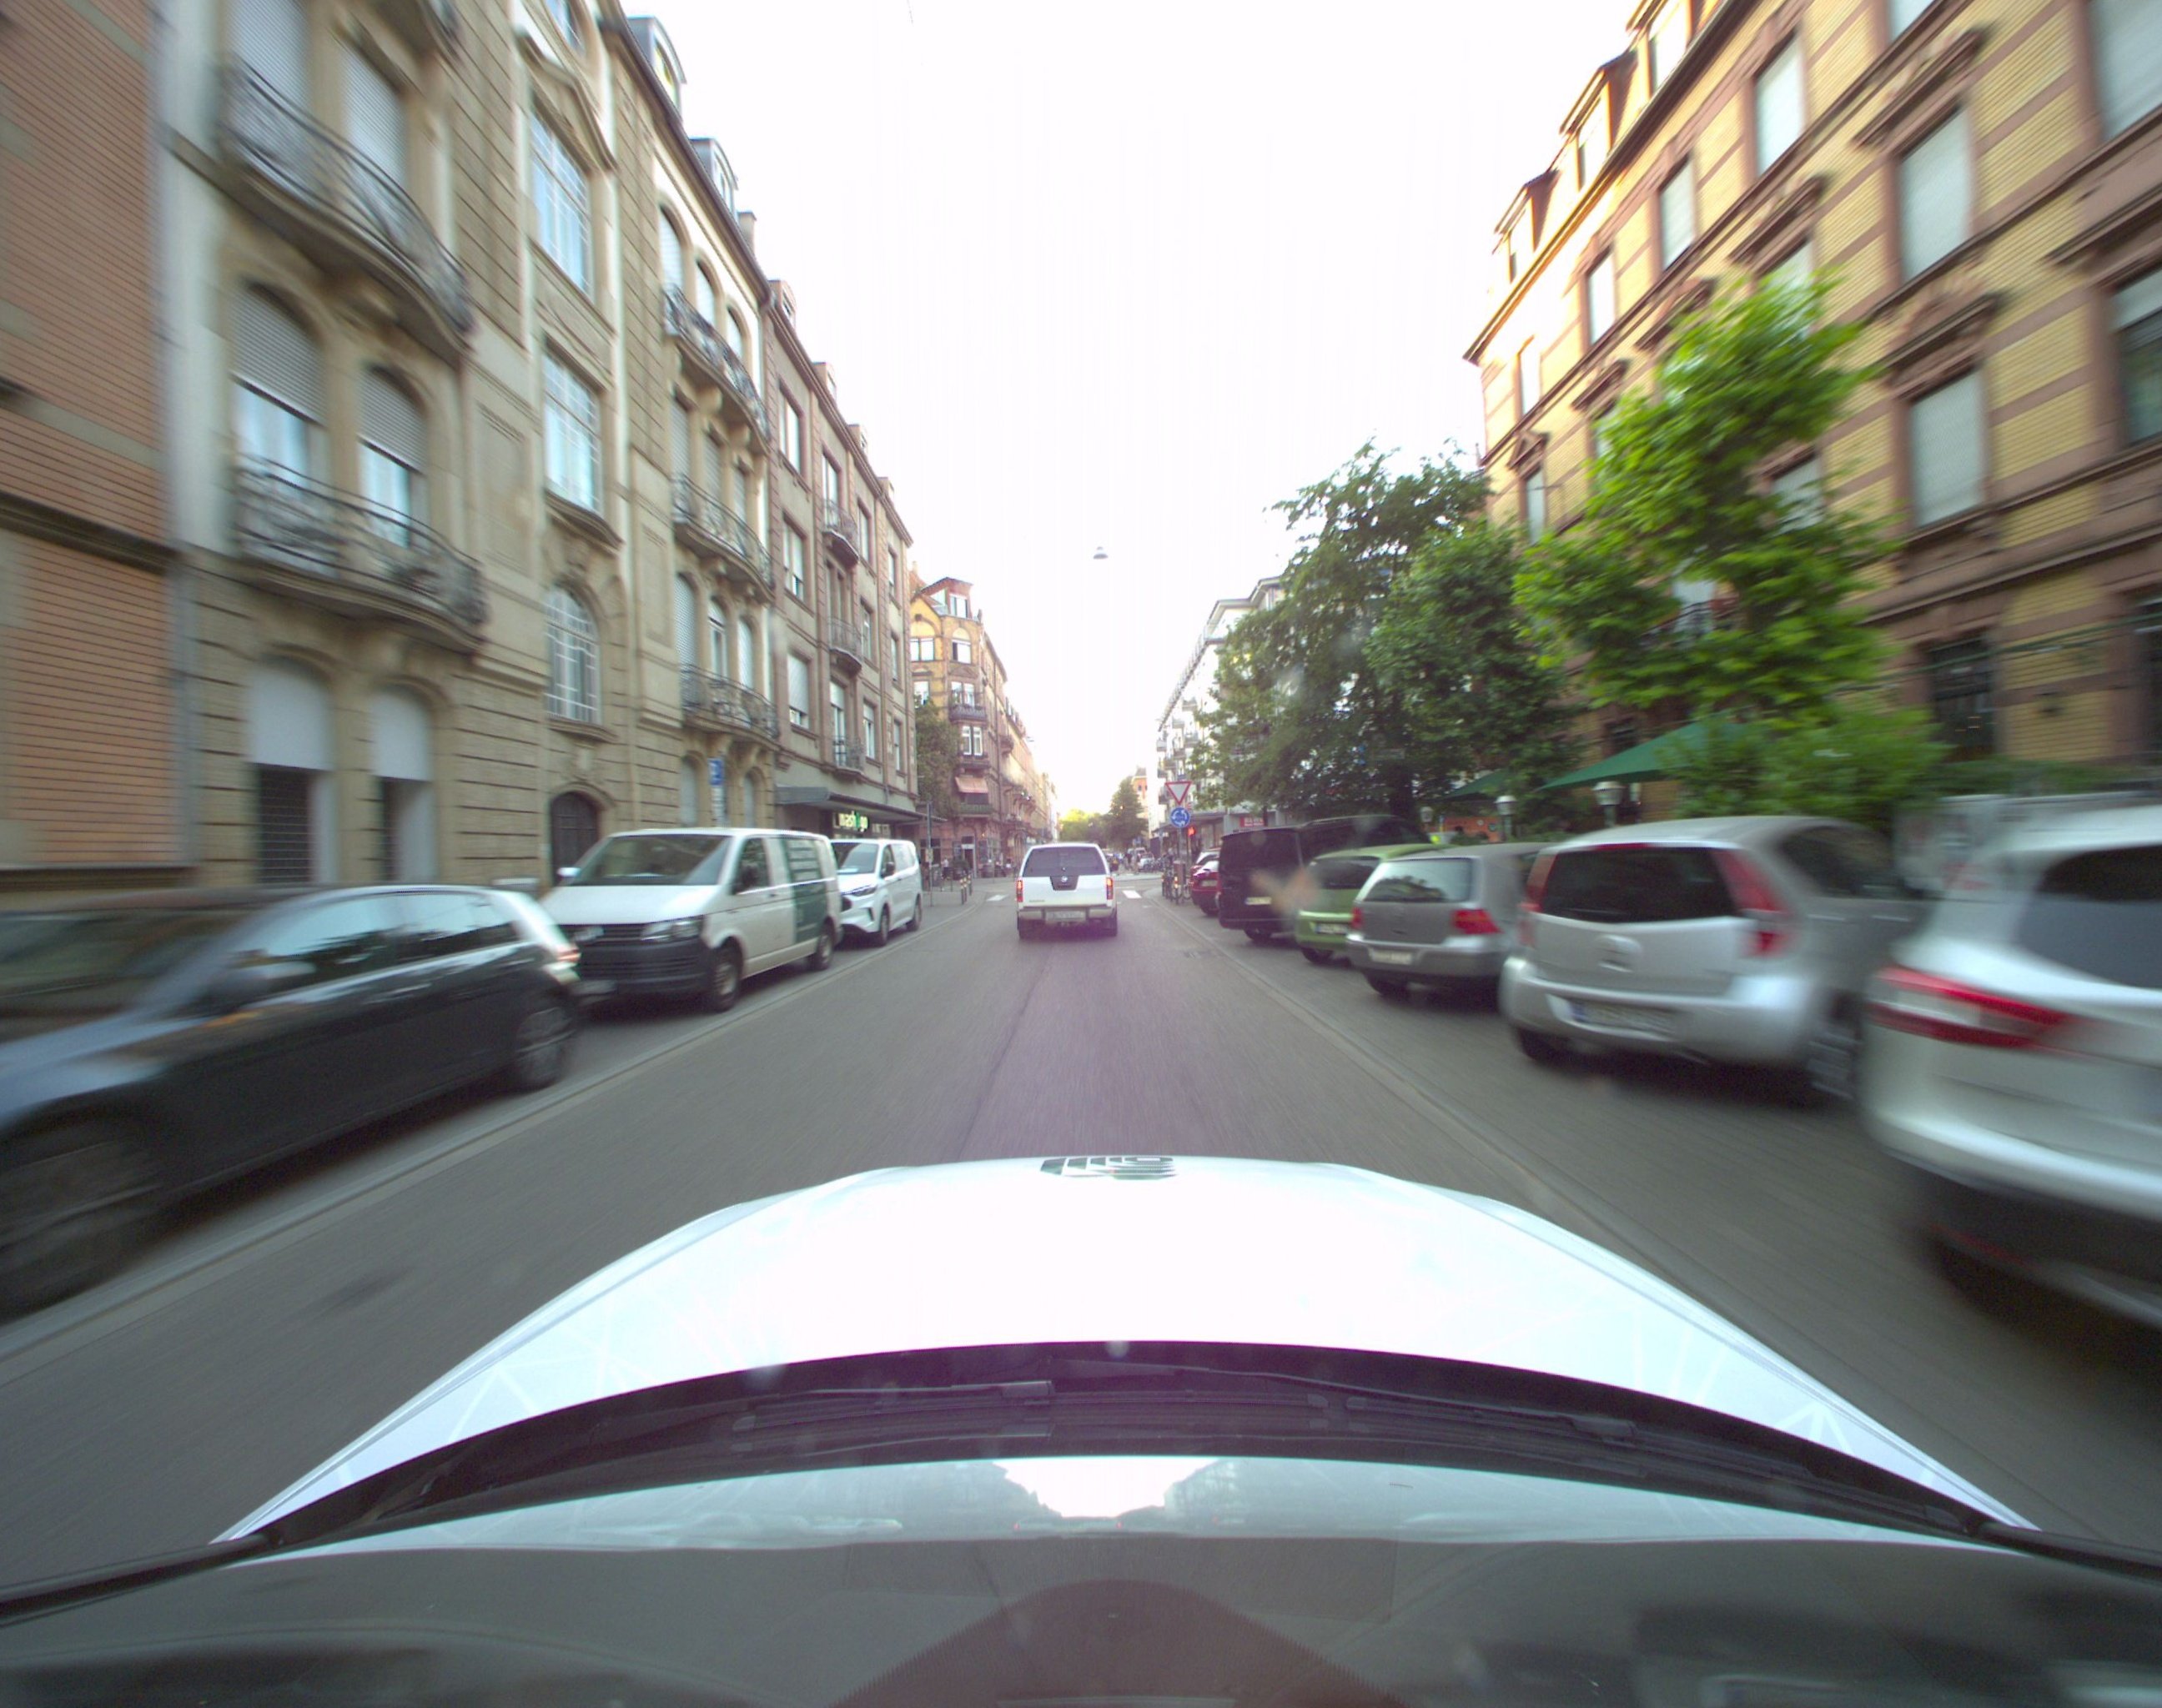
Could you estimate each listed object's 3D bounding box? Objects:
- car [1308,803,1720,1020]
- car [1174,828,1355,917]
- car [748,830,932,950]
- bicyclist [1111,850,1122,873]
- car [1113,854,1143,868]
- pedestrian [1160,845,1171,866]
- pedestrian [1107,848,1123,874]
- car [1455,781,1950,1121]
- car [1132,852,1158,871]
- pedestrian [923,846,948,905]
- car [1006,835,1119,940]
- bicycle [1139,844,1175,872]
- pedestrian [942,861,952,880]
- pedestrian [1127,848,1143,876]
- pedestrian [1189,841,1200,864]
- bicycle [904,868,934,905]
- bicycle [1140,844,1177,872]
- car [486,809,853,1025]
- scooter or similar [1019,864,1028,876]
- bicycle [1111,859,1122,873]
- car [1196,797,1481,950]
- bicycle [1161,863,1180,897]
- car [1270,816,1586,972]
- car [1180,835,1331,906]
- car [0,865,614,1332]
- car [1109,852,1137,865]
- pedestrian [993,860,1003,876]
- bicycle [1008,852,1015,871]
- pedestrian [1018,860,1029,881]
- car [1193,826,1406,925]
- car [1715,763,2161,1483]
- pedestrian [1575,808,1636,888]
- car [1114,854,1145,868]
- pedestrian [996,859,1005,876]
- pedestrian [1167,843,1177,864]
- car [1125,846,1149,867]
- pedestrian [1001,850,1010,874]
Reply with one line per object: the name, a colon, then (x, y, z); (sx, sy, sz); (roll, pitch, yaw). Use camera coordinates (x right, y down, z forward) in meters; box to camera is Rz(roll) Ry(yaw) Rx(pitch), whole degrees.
car: (4.517, 0.419, 8.357); (4.123, 1.551, 1.800); (-5, 1, -31)
car: (4.493, 0.396, 19.644); (4.245, 1.688, 1.911); (-5, 1, -38)
car: (-4.453, 0.606, 16.004); (2.103, 1.921, 5.024); (-2, 0, -1)
bicyclist: (2.989, 0.616, 68.598); (0.834, 1.944, 0.786); (-1, -1, 5)
car: (6.327, 0.936, 109.692); (3.975, 1.750, 1.840); (-1, -1, -1)
pedestrian: (6.693, 0.140, 64.532); (0.717, 1.663, 0.702); (-1, -1, 1)
pedestrian: (2.283, 0.480, 54.290); (0.905, 1.736, 0.613); (-1, -1, -14)
car: (4.724, 0.403, 5.972); (4.129, 1.590, 1.798); (-5, 1, -37)
car: (5.262, 0.611, 67.341); (1.829, 1.542, 3.999); (-1, -1, 0)
pedestrian: (-4.634, 0.672, 25.941); (0.534, 1.824, 0.998); (-1, -1, 4)
car: (-0.210, 0.615, 16.776); (1.930, 1.810, 5.004); (-1, -1, 3)
bicycle: (5.653, 0.291, 60.681); (2.637, 2.014, 0.638); (-1, -1, 1)
pedestrian: (-9.056, 1.088, 55.086); (0.451, 1.262, 0.578); (-1, -1, 25)
pedestrian: (3.657, 0.543, 55.181); (0.909, 1.885, 0.610); (0, -1, -30)
pedestrian: (8.383, -0.078, 60.090); (0.717, 1.663, 0.703); (-1, -1, 3)
bicycle: (-5.204, 1.030, 26.212); (0.469, 1.142, 1.786); (-1, -1, 4)
bicycle: (5.682, 0.281, 59.866); (2.637, 2.014, 0.638); (-1, -1, 1)
car: (-4.459, 0.582, 9.901); (1.830, 1.921, 4.847); (-2, 0, 1)
scooter or similar: (-4.448, 1.207, 62.816); (0.234, 0.929, 1.256); (-1, -1, -24)
bicycle: (2.966, 1.001, 68.468); (0.834, 1.171, 1.938); (-1, -1, 5)
car: (4.712, 0.212, 14.375); (5.464, 2.072, 1.911); (-5, 1, -38)
bicycle: (2.884, 0.818, 26.371); (0.363, 1.063, 1.550); (-1, -1, -3)
car: (4.760, 0.430, 11.037); (4.123, 1.551, 1.800); (-5, 1, -31)
car: (4.952, 0.422, 22.980); (4.063, 1.627, 1.676); (-4, 1, -31)
car: (-4.454, 0.846, 4.079); (1.832, 1.471, 4.170); (-2, 0, -1)
car: (6.109, 0.696, 119.449); (3.975, 1.750, 1.840); (-1, -1, -1)
pedestrian: (-6.274, 1.090, 61.517); (0.647, 1.191, 0.539); (-1, -1, -4)
bicycle: (-5.295, 0.578, 62.119); (0.423, 1.442, 1.902); (-1, -1, -4)
pedestrian: (-4.598, 1.333, 64.828); (0.795, 1.621, 0.944); (-1, -1, -2)
car: (4.672, 0.392, 17.210); (4.241, 1.622, 1.913); (-5, 1, -33)
car: (4.214, 0.463, 2.762); (4.123, 1.590, 1.801); (-5, 1, -30)
pedestrian: (9.297, -0.103, 14.460); (0.586, 1.366, 0.696); (-1, -1, -3)
car: (6.355, 0.910, 107.454); (3.975, 1.750, 1.840); (-1, -1, -1)
pedestrian: (-6.230, 1.055, 62.703); (0.647, 1.286, 0.539); (-1, -1, -4)
pedestrian: (8.186, -0.062, 73.298); (0.717, 1.906, 0.702); (-1, -1, 1)
car: (5.240, 0.255, 76.126); (1.936, 1.934, 3.999); (-1, -1, 0)
pedestrian: (-5.823, 0.609, 62.484); (0.506, 1.840, 0.568); (-1, -1, -22)
